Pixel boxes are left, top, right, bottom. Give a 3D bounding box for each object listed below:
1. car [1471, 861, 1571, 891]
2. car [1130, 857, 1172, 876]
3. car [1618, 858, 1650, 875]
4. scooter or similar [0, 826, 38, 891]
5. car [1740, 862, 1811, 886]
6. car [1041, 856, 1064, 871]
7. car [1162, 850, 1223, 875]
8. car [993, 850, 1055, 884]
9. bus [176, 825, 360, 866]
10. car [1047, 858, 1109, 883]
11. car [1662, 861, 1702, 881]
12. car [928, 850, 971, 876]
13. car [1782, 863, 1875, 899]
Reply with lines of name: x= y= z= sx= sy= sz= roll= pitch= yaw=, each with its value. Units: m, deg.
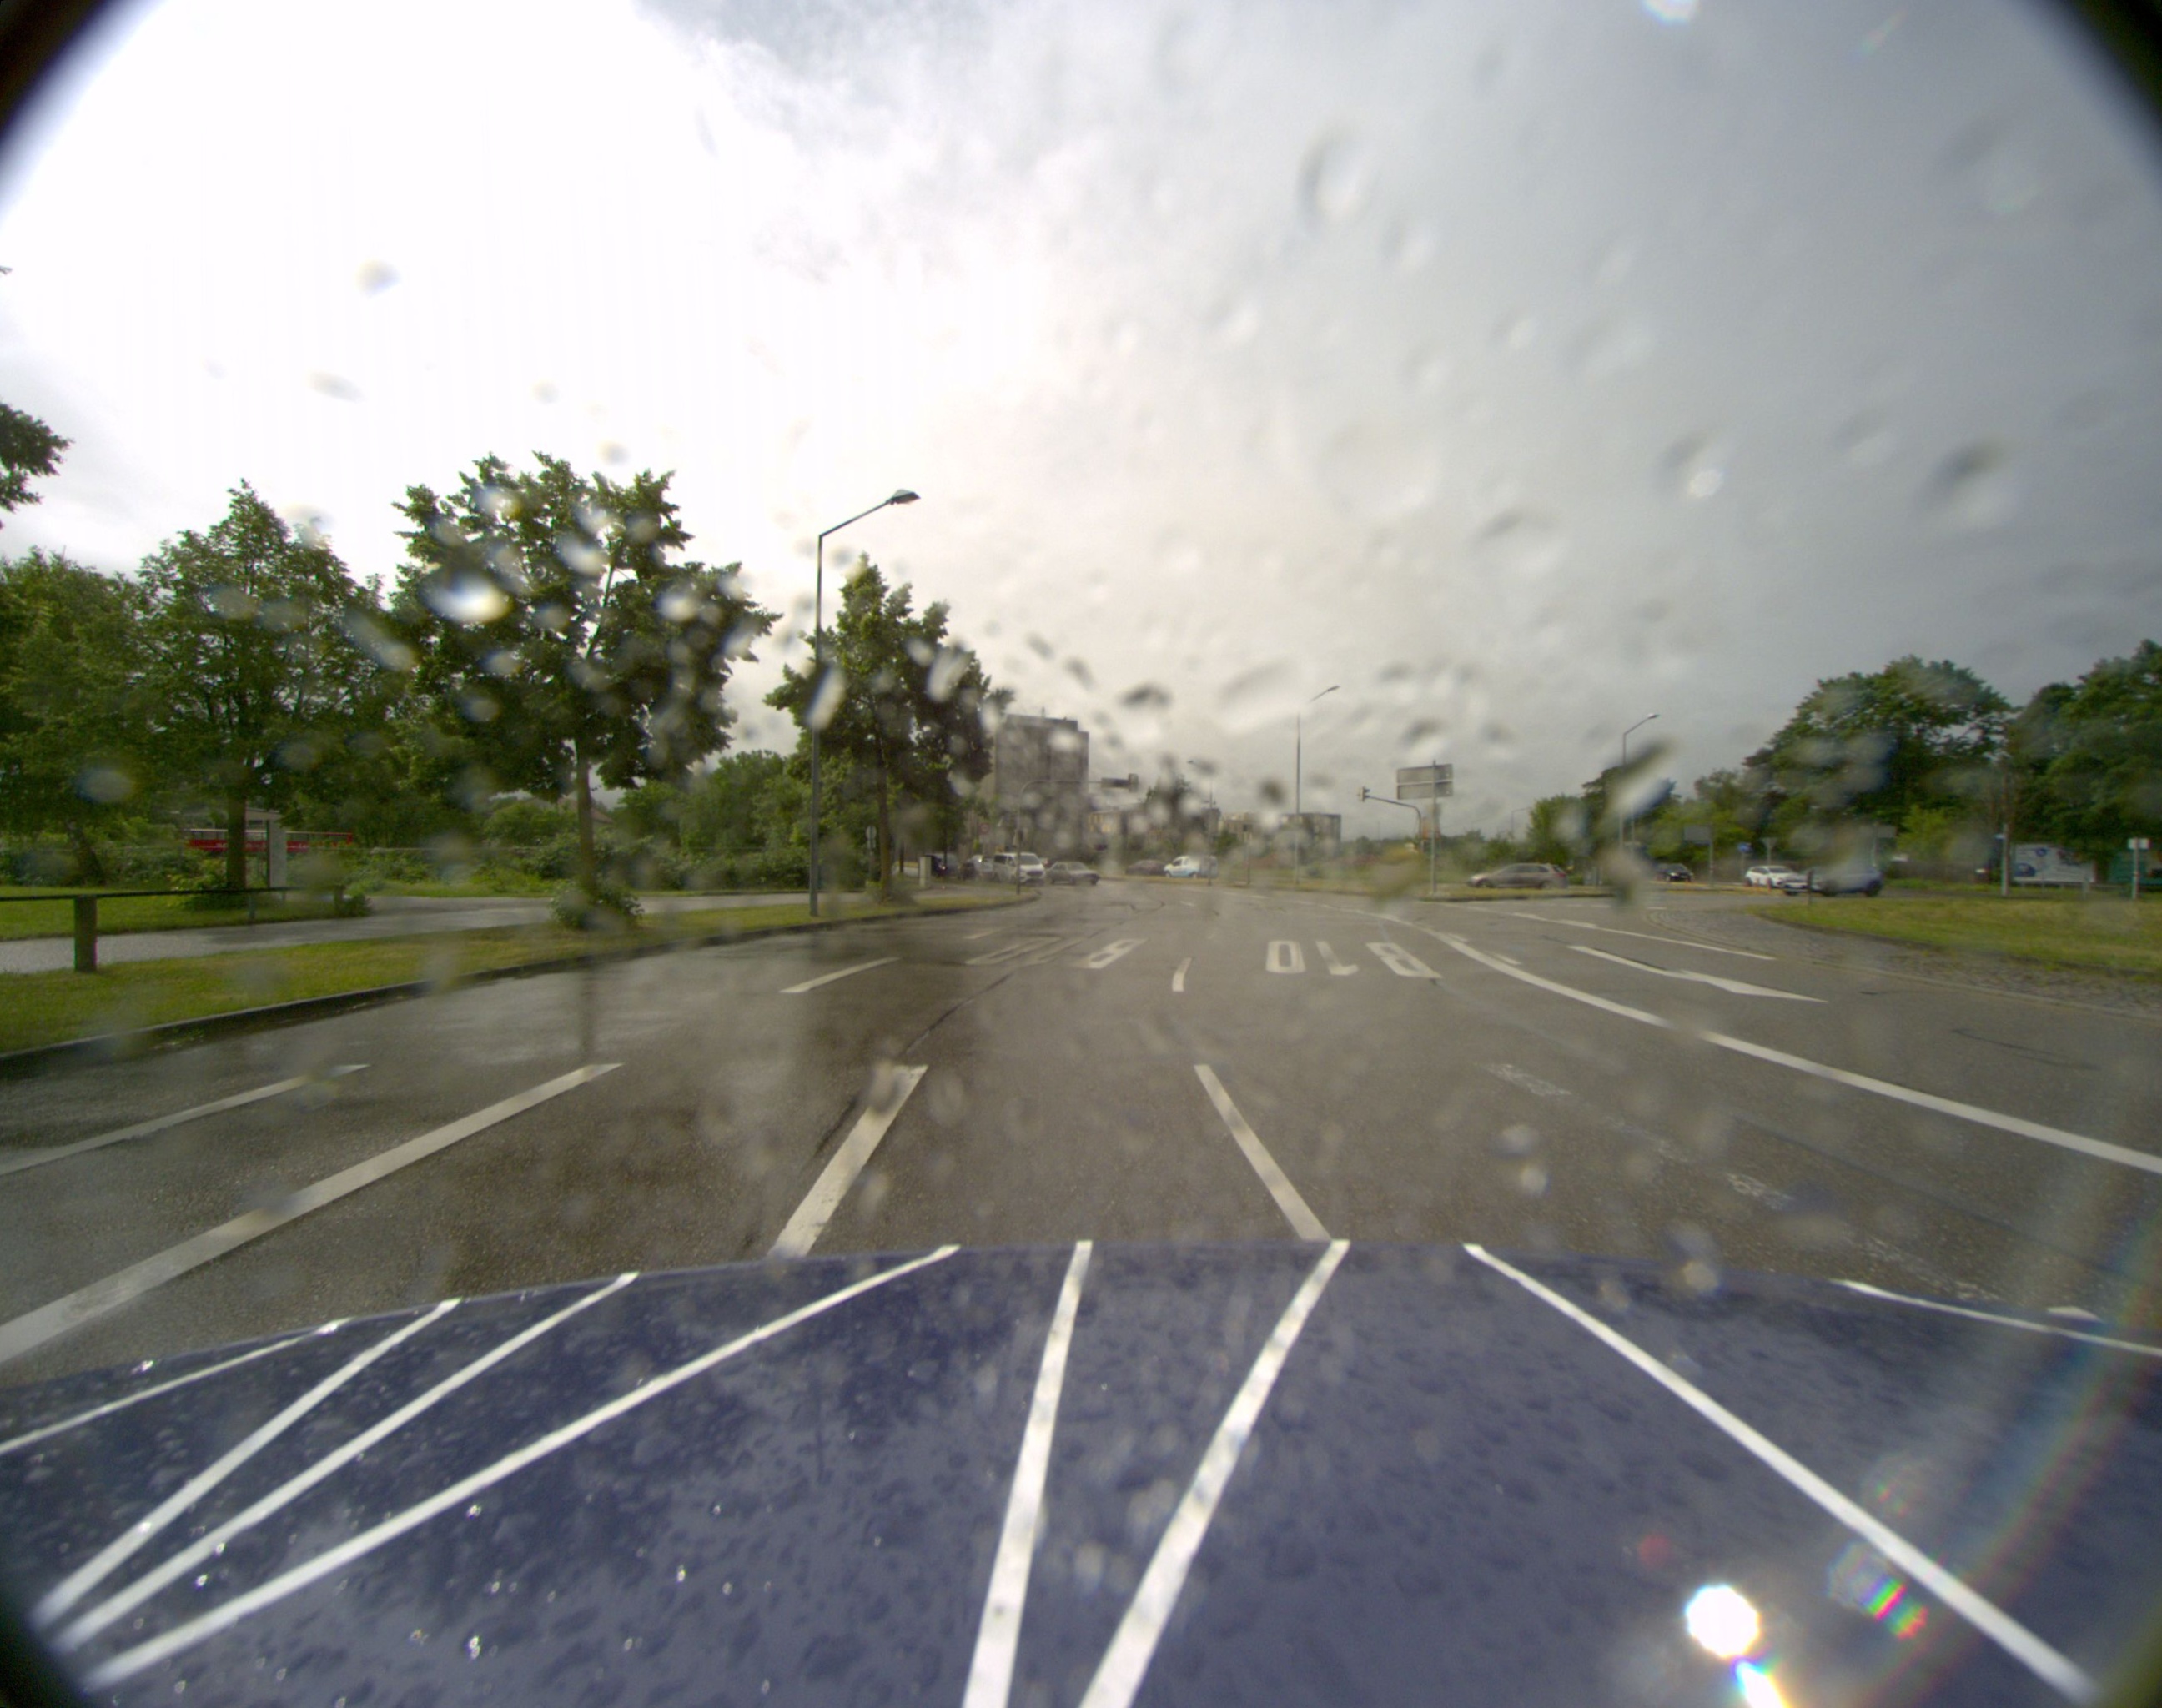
car: x=21.458 y=1.073 z=37.142 sx=4.116 sy=1.405 sz=1.739 roll=-1 pitch=-1 yaw=34
car: x=6.373 y=1.132 z=69.417 sx=1.878 sy=1.647 sz=4.490 roll=1 pitch=0 yaw=-24
car: x=58.390 y=1.360 z=80.299 sx=1.871 sy=1.653 sz=4.492 roll=2 pitch=0 yaw=26
scooter or similar: x=-34.801 y=0.188 z=23.688 sx=3.404 sy=2.002 sz=1.241 roll=-1 pitch=0 yaw=9
car: x=49.448 y=1.397 z=54.243 sx=1.872 sy=1.653 sz=4.489 roll=-1 pitch=-1 yaw=15
car: x=-3.134 y=0.986 z=82.334 sx=1.811 sy=1.519 sz=3.996 roll=1 pitch=0 yaw=-12
car: x=8.054 y=0.625 z=55.279 sx=1.871 sy=1.752 sz=4.540 roll=1 pitch=-1 yaw=-31
car: x=-3.621 y=0.795 z=47.457 sx=2.082 sy=1.975 sz=4.789 roll=1 pitch=-1 yaw=-28
bus: x=-72.347 y=-0.831 z=68.057 sx=11.006 sy=3.439 sz=1.995 roll=-1 pitch=0 yaw=-37
car: x=-0.252 y=0.974 z=47.752 sx=1.870 sy=1.372 sz=4.540 roll=-2 pitch=1 yaw=-29
car: x=55.253 y=1.591 z=69.911 sx=1.871 sy=1.653 sz=4.493 roll=2 pitch=-1 yaw=26
car: x=-10.503 y=0.683 z=60.418 sx=2.082 sy=1.975 sz=4.790 roll=1 pitch=-1 yaw=-26
car: x=37.160 y=1.300 z=37.775 sx=4.489 sy=1.653 sz=1.872 roll=0 pitch=0 yaw=-25
